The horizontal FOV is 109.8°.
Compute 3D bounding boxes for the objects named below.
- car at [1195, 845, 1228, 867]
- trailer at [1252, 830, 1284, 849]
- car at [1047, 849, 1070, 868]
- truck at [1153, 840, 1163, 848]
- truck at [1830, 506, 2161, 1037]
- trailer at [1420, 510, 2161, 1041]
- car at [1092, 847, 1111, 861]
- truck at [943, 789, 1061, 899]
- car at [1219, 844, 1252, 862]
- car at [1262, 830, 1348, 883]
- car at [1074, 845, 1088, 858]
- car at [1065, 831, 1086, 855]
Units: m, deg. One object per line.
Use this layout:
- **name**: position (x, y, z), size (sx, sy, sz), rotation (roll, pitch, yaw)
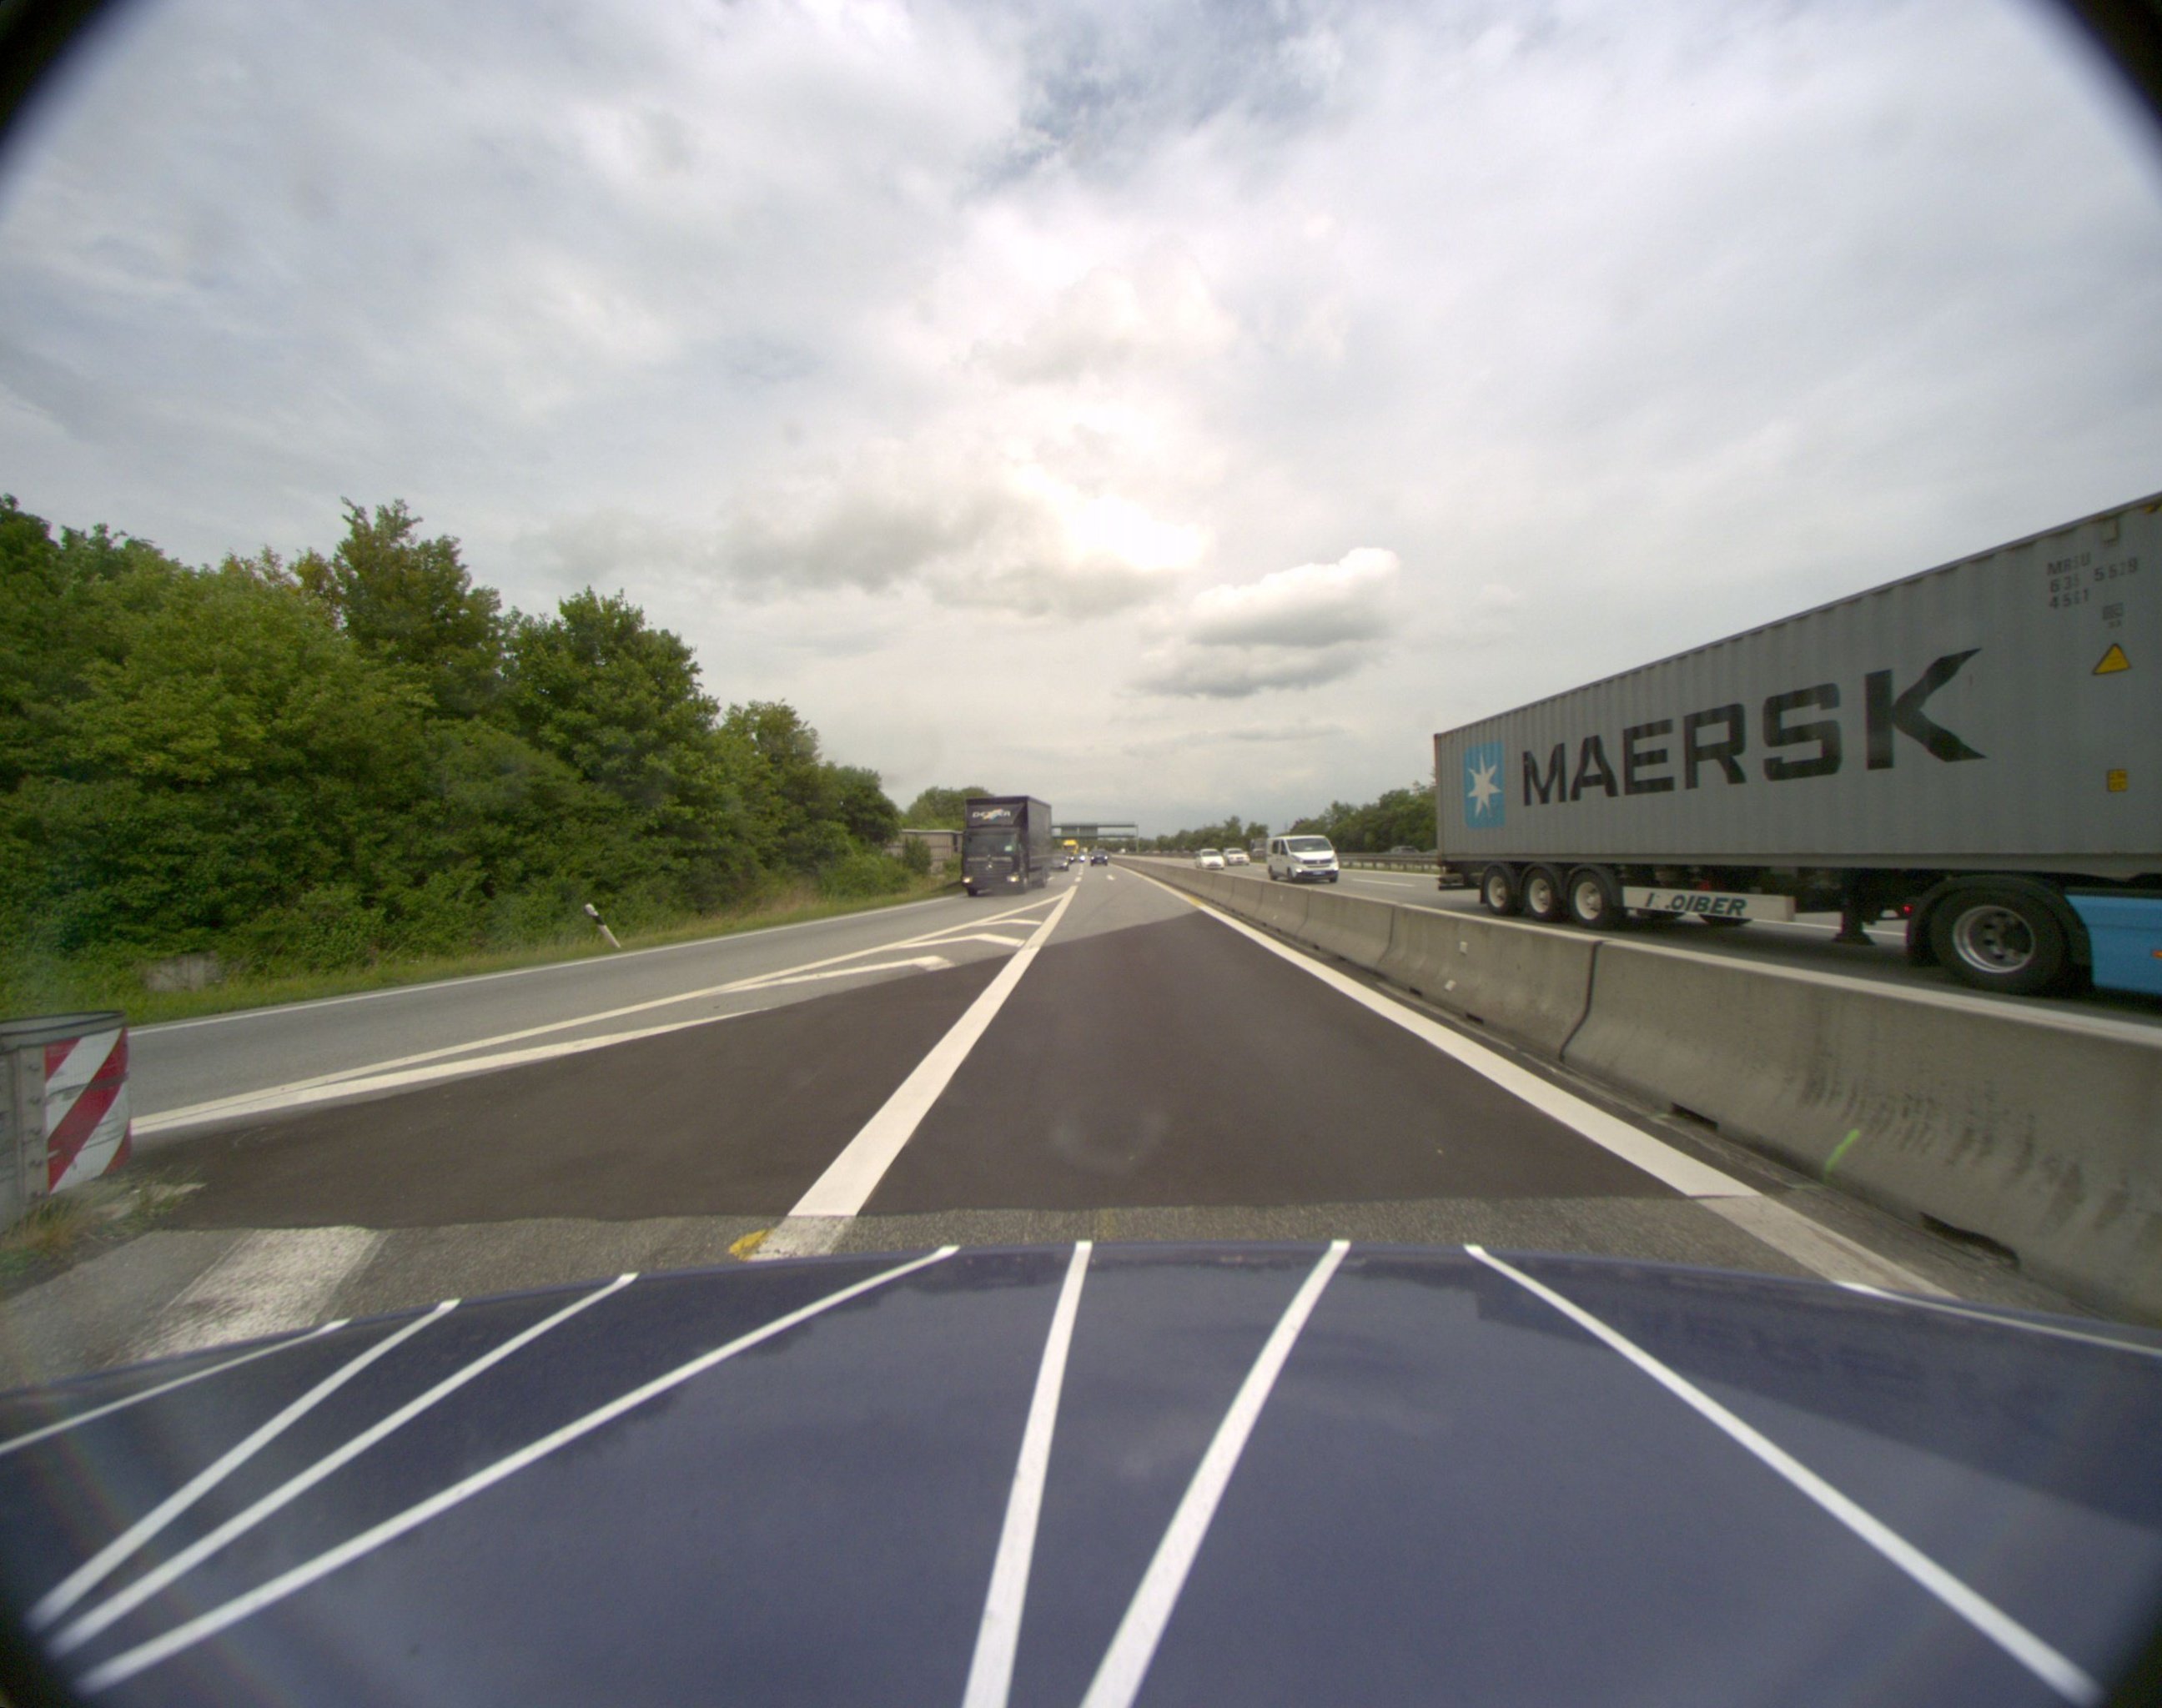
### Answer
- **car**: position (9.357, 0.132, 54.666), size (1.685, 1.476, 3.773), rotation (-2, 1, -1)
- **trailer**: position (33.990, -2.664, 138.396), size (3.205, 3.250, 9.822), rotation (-2, 1, 0)
- **car**: position (-1.877, 0.368, 64.839), size (1.866, 1.434, 3.999), rotation (-2, 1, -1)
- **truck**: position (22.928, -2.993, 226.726), size (2.282, 2.356, 6.199), rotation (-2, 1, 0)
- **truck**: position (9.553, -0.640, 4.732), size (3.255, 3.889, 6.609), rotation (-2, 1, 0)
- **trailer**: position (9.548, -0.721, 11.390), size (3.244, 3.902, 12.377), rotation (-3, 1, 0)
- **car**: position (2.214, -0.041, 81.913), size (1.866, 1.434, 3.999), rotation (-2, 1, -1)
- **truck**: position (-3.044, -0.443, 32.989), size (3.023, 3.932, 10.343), rotation (-2, 1, 5)
- **car**: position (13.062, -0.107, 64.368), size (1.757, 1.361, 4.204), rotation (-2, 1, -2)
- **car**: position (9.268, 0.057, 31.946), size (2.005, 1.927, 5.131), rotation (-3, 1, -1)
- **car**: position (-0.008, -0.415, 115.197), size (1.785, 1.761, 4.000), rotation (-2, 1, 3)
- **car**: position (-1.081, -2.223, 149.346), size (3.394, 4.458, 11.607), rotation (-2, 1, 3)
